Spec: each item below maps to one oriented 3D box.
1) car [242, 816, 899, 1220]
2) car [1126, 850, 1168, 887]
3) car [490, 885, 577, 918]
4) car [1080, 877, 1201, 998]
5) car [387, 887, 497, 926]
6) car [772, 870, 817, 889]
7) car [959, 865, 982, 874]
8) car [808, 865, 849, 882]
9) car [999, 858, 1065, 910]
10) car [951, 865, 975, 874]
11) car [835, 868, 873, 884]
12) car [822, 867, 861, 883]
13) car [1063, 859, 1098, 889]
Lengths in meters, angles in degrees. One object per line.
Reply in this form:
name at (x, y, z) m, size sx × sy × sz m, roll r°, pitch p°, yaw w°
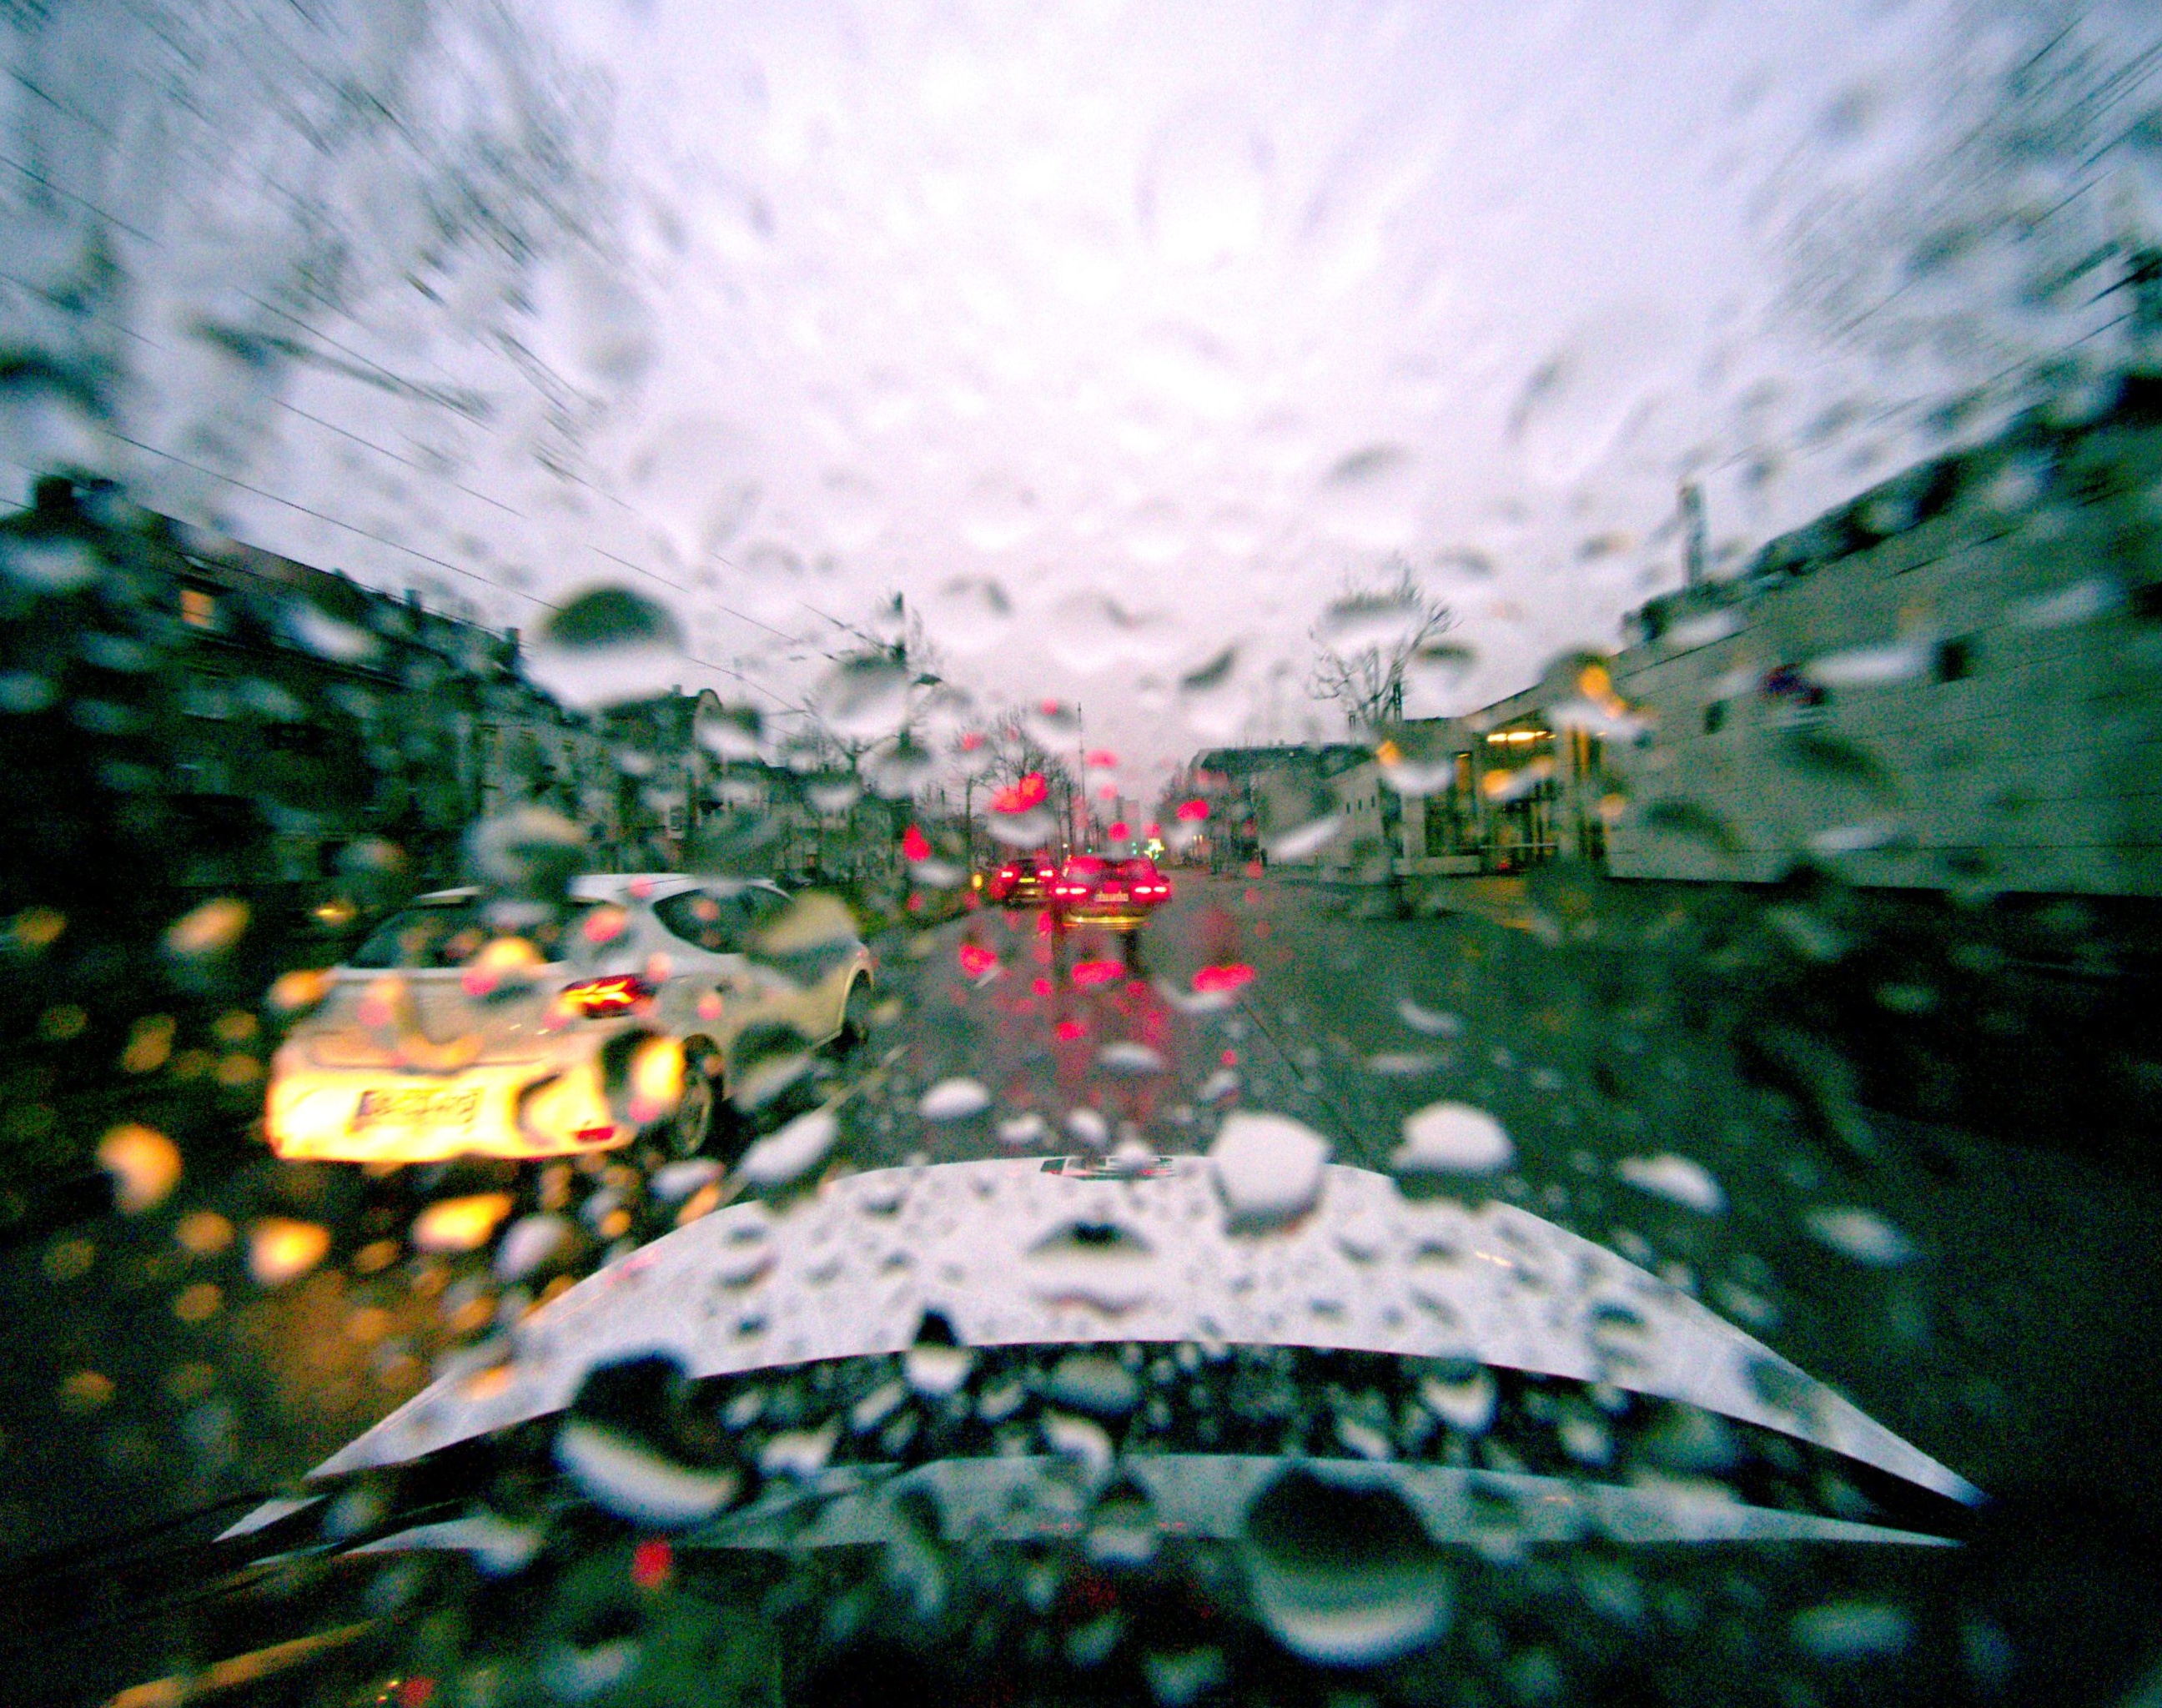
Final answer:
car at (-2.545, 0.684, 5.354) m, size 1.666 × 1.600 × 4.054 m, roll -2°, pitch -1°, yaw 1°
car at (3.384, 0.723, 42.075) m, size 1.984 × 1.744 × 4.005 m, roll -3°, pitch -1°, yaw 4°
car at (-27.384, 2.335, 40.849) m, size 1.768 × 1.354 × 3.560 m, roll -3°, pitch 0°, yaw 3°
car at (1.002, 1.251, 13.602) m, size 1.664 × 1.600 × 4.058 m, roll -2°, pitch -1°, yaw 4°
car at (-27.718, 2.257, 35.466) m, size 1.768 × 1.354 × 3.560 m, roll -3°, pitch 0°, yaw 3°
car at (-23.560, 2.119, 66.859) m, size 3.510 × 1.354 × 1.793 m, roll -3°, pitch 0°, yaw 37°
car at (-18.804, 2.598, 138.610) m, size 3.510 × 1.354 × 1.793 m, roll -3°, pitch 0°, yaw 37°
car at (-22.986, 1.781, 74.113) m, size 3.510 × 1.354 × 1.793 m, roll -3°, pitch 0°, yaw 37°
car at (-1.599, 0.964, 27.913) m, size 1.664 × 1.600 × 4.058 m, roll -2°, pitch -1°, yaw 4°
car at (-19.120, 2.520, 131.858) m, size 3.510 × 1.354 × 1.793 m, roll -3°, pitch 0°, yaw 37°
car at (-22.646, 2.192, 81.146) m, size 3.510 × 1.354 × 1.793 m, roll -3°, pitch 0°, yaw 37°
car at (-22.826, 2.038, 77.483) m, size 3.510 × 1.354 × 1.793 m, roll -3°, pitch 0°, yaw 37°
car at (0.020, 1.116, 46.906) m, size 1.664 × 1.600 × 4.058 m, roll -2°, pitch -1°, yaw 4°
